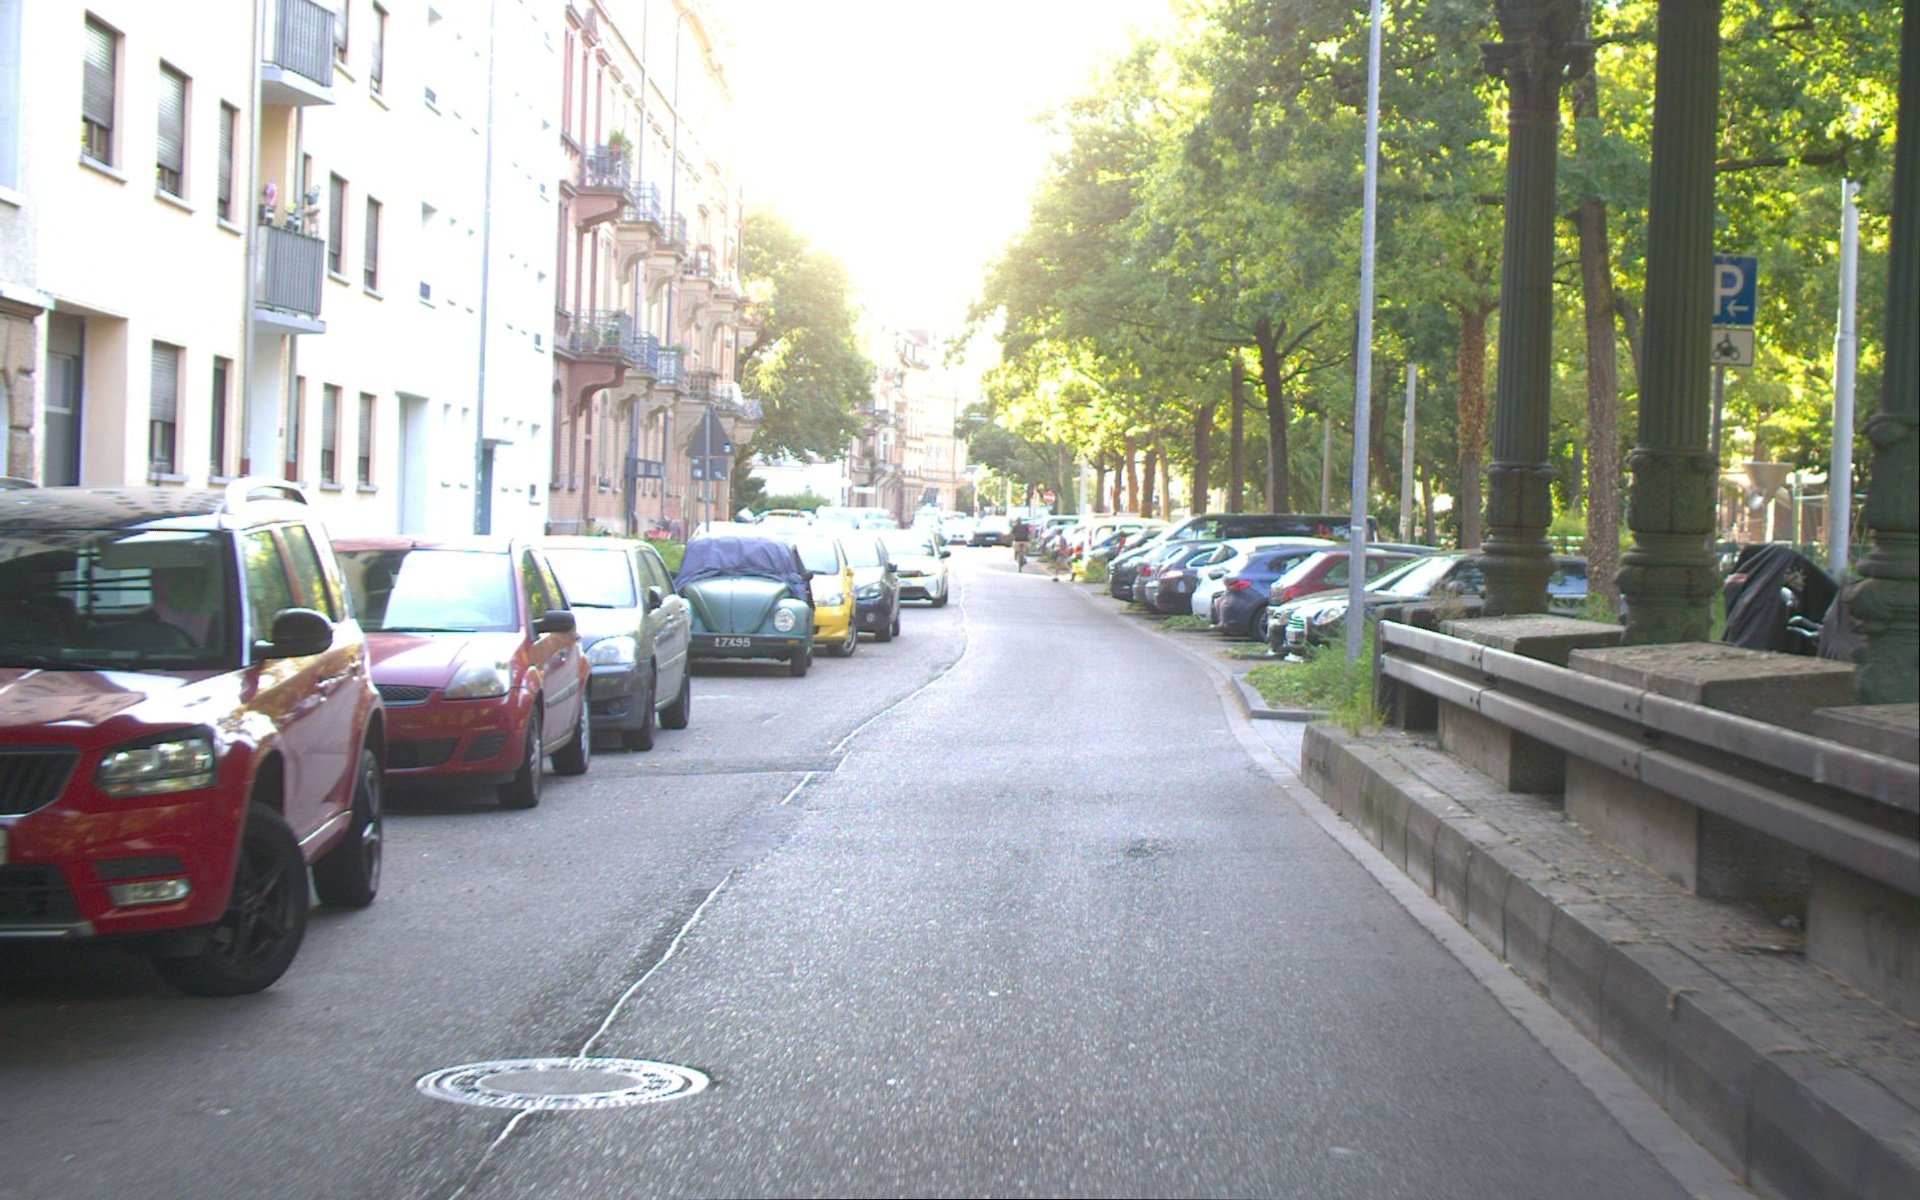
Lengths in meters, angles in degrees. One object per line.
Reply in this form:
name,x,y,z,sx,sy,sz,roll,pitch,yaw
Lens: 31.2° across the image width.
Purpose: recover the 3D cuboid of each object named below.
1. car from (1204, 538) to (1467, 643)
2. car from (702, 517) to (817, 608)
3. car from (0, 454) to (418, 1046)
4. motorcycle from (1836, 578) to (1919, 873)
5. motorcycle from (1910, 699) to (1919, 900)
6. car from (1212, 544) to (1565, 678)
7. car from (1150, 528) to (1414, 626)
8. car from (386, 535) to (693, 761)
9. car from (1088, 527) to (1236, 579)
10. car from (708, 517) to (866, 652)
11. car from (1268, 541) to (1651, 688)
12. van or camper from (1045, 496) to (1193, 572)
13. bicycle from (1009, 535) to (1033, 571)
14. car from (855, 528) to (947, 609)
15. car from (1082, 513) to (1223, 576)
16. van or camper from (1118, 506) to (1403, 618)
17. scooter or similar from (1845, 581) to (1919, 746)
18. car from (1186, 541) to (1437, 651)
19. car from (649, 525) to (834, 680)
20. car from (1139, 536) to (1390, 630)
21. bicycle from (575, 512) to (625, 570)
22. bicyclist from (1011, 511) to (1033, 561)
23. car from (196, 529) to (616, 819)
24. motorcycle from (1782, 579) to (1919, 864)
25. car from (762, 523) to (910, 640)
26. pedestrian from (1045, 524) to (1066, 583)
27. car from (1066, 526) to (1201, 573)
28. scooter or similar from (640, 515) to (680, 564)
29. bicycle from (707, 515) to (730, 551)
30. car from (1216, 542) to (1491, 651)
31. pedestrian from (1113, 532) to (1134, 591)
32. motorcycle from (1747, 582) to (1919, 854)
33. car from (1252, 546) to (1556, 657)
car,5.602,-0.137,51.607,3.782,1.468,1.664,1,0,3
car,-3.602,-0.708,62.474,1.668,1.466,4.284,5,1,1
car,-3.053,0.392,12.081,1.716,1.702,4.323,1,1,-2
motorcycle,5.150,0.640,16.707,1.602,1.403,0.712,3,0,20
motorcycle,4.953,0.621,14.696,1.602,1.403,0.712,3,0,20
car,4.802,0.124,38.929,3.782,1.397,1.827,1,0,1
car,5.514,-0.393,58.968,4.400,1.572,1.664,1,0,5
car,-2.917,0.276,24.590,1.636,1.461,4.000,-1,1,1
car,5.799,-1.359,98.984,4.081,1.437,1.762,0,1,-2
car,-2.052,-0.214,41.673,1.702,1.520,3.774,2,1,0
car,5.312,0.155,36.837,3.781,1.467,1.635,1,0,-3
van or camper,5.590,-2.327,121.412,4.981,2.369,2.185,3,0,-1
bicycle,1.977,-1.523,111.810,0.641,1.096,1.944,3,0,-1
car,-1.124,-0.640,67.111,1.668,1.426,4.001,0,2,1
car,5.825,-1.696,104.435,4.220,1.857,1.762,0,1,1
van or camper,5.801,-0.764,66.924,5.414,2.020,2.029,1,2,3
scooter or similar,7.610,0.514,27.960,0.477,1.294,1.325,3,0,3
car,5.516,-0.059,54.240,3.782,1.640,1.664,1,0,1
car,-2.270,-0.015,36.485,1.567,1.512,3.782,2,1,2
car,5.432,-0.299,61.723,4.399,1.572,1.664,1,0,3
bicycle,-7.891,-1.306,75.386,0.737,1.202,2.514,3,2,1
bicyclist,2.015,-2.071,111.894,0.627,1.568,0.802,3,0,-1
car,-3.041,0.348,19.622,1.689,1.436,4.000,2,1,0
motorcycle,5.095,0.641,17.576,1.602,1.403,0.712,3,0,20
car,-1.644,-0.284,46.565,1.739,1.474,4.000,1,1,1
pedestrian,2.605,-1.270,93.366,0.380,1.579,0.518,3,4,19
car,5.509,-1.612,108.890,4.220,1.448,1.648,0,1,4
scooter or similar,-8.139,-1.633,93.407,0.783,1.218,2.704,3,0,0
bicycle,-8.178,-2.263,116.485,0.705,1.143,1.890,3,0,-3
car,5.563,-0.046,48.759,3.783,1.442,1.664,1,0,6
pedestrian,4.310,-1.011,90.689,0.380,1.511,0.518,3,4,19
motorcycle,5.153,0.649,18.588,1.602,1.403,0.712,3,0,20
car,5.958,0.021,46.394,3.781,1.397,1.767,1,0,-3
